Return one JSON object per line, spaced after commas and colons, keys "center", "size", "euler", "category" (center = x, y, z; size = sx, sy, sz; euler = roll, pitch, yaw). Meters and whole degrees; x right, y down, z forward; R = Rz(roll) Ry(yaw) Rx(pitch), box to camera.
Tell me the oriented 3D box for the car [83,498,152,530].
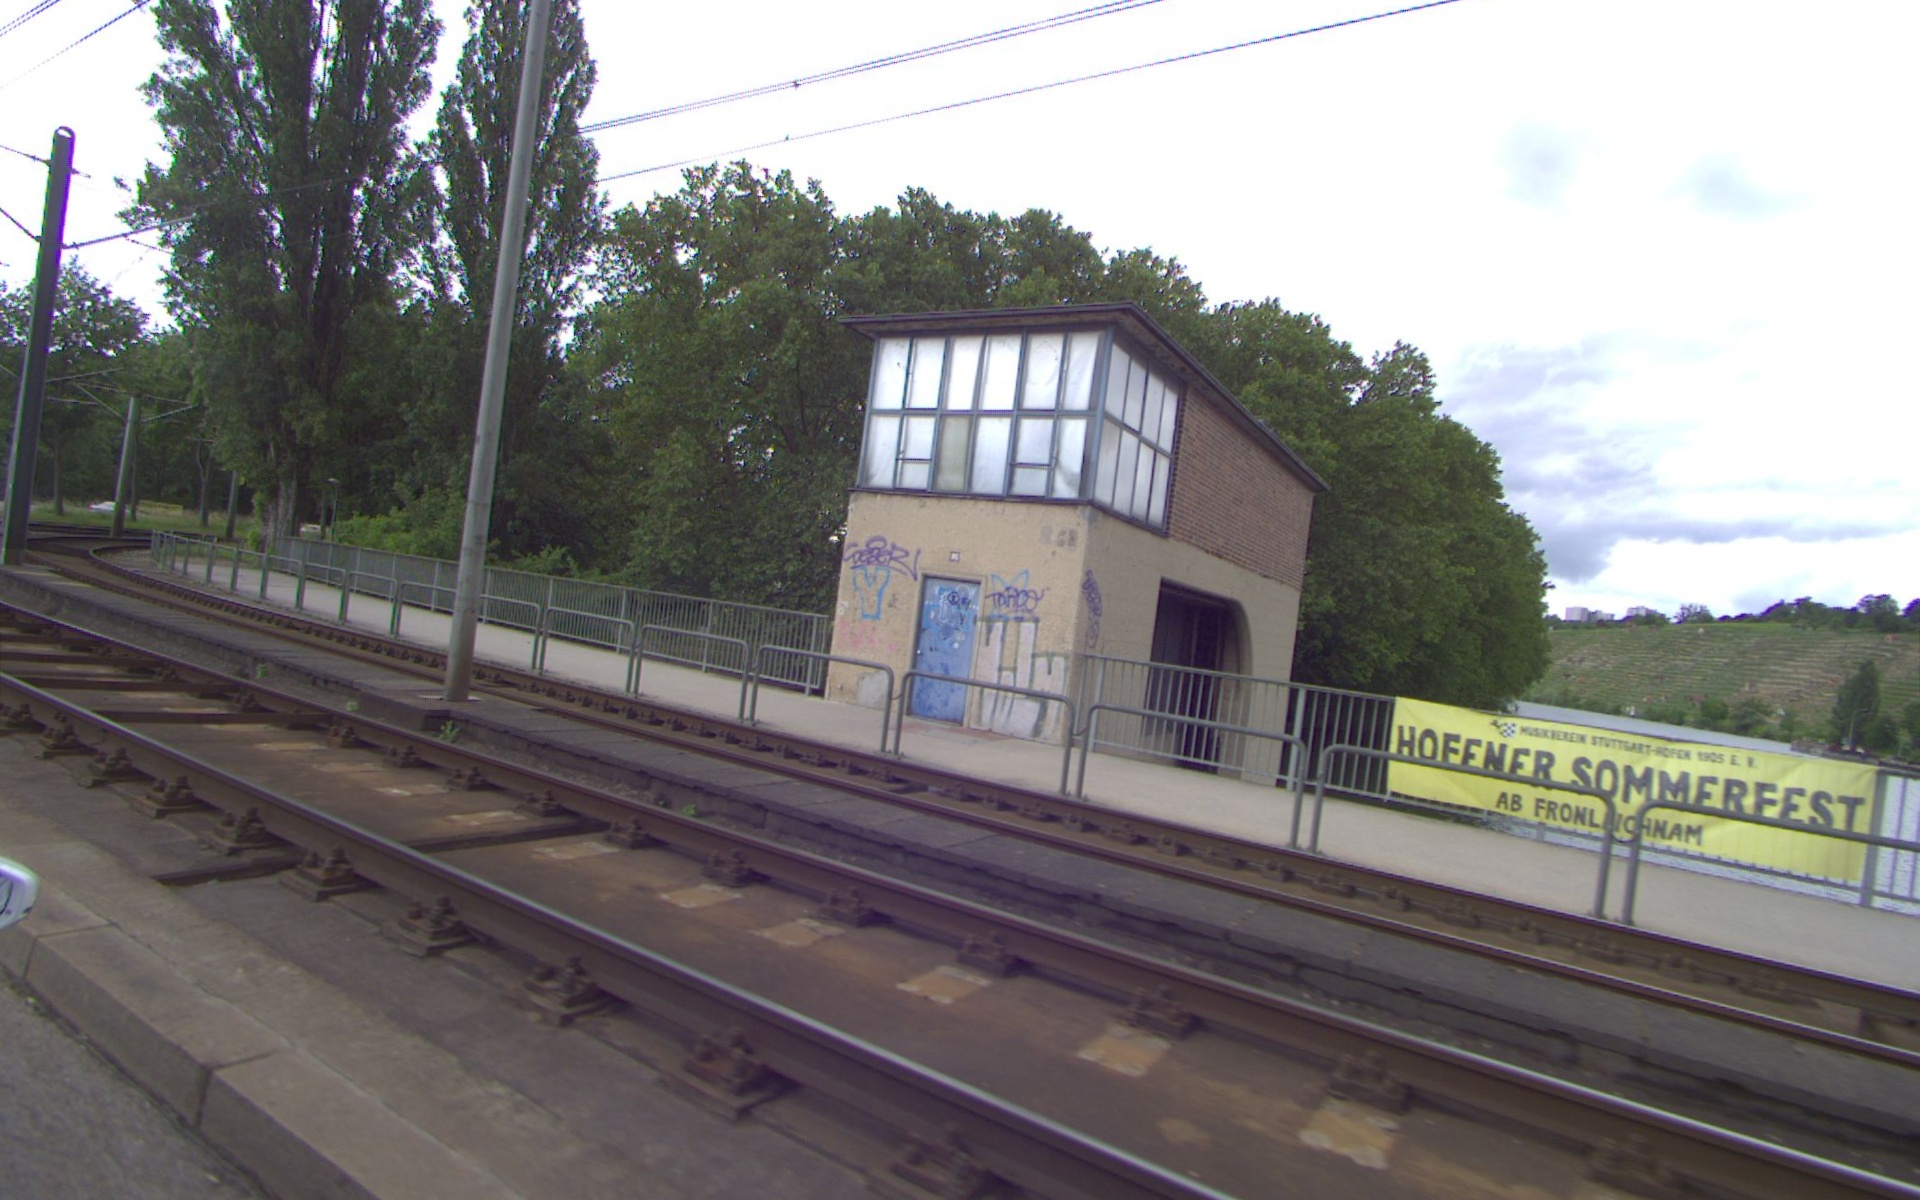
{"center": [-55.286, -5.593, 66.072], "size": [1.774, 1.733, 3.974], "euler": [6, 2, -14], "category": "car"}
